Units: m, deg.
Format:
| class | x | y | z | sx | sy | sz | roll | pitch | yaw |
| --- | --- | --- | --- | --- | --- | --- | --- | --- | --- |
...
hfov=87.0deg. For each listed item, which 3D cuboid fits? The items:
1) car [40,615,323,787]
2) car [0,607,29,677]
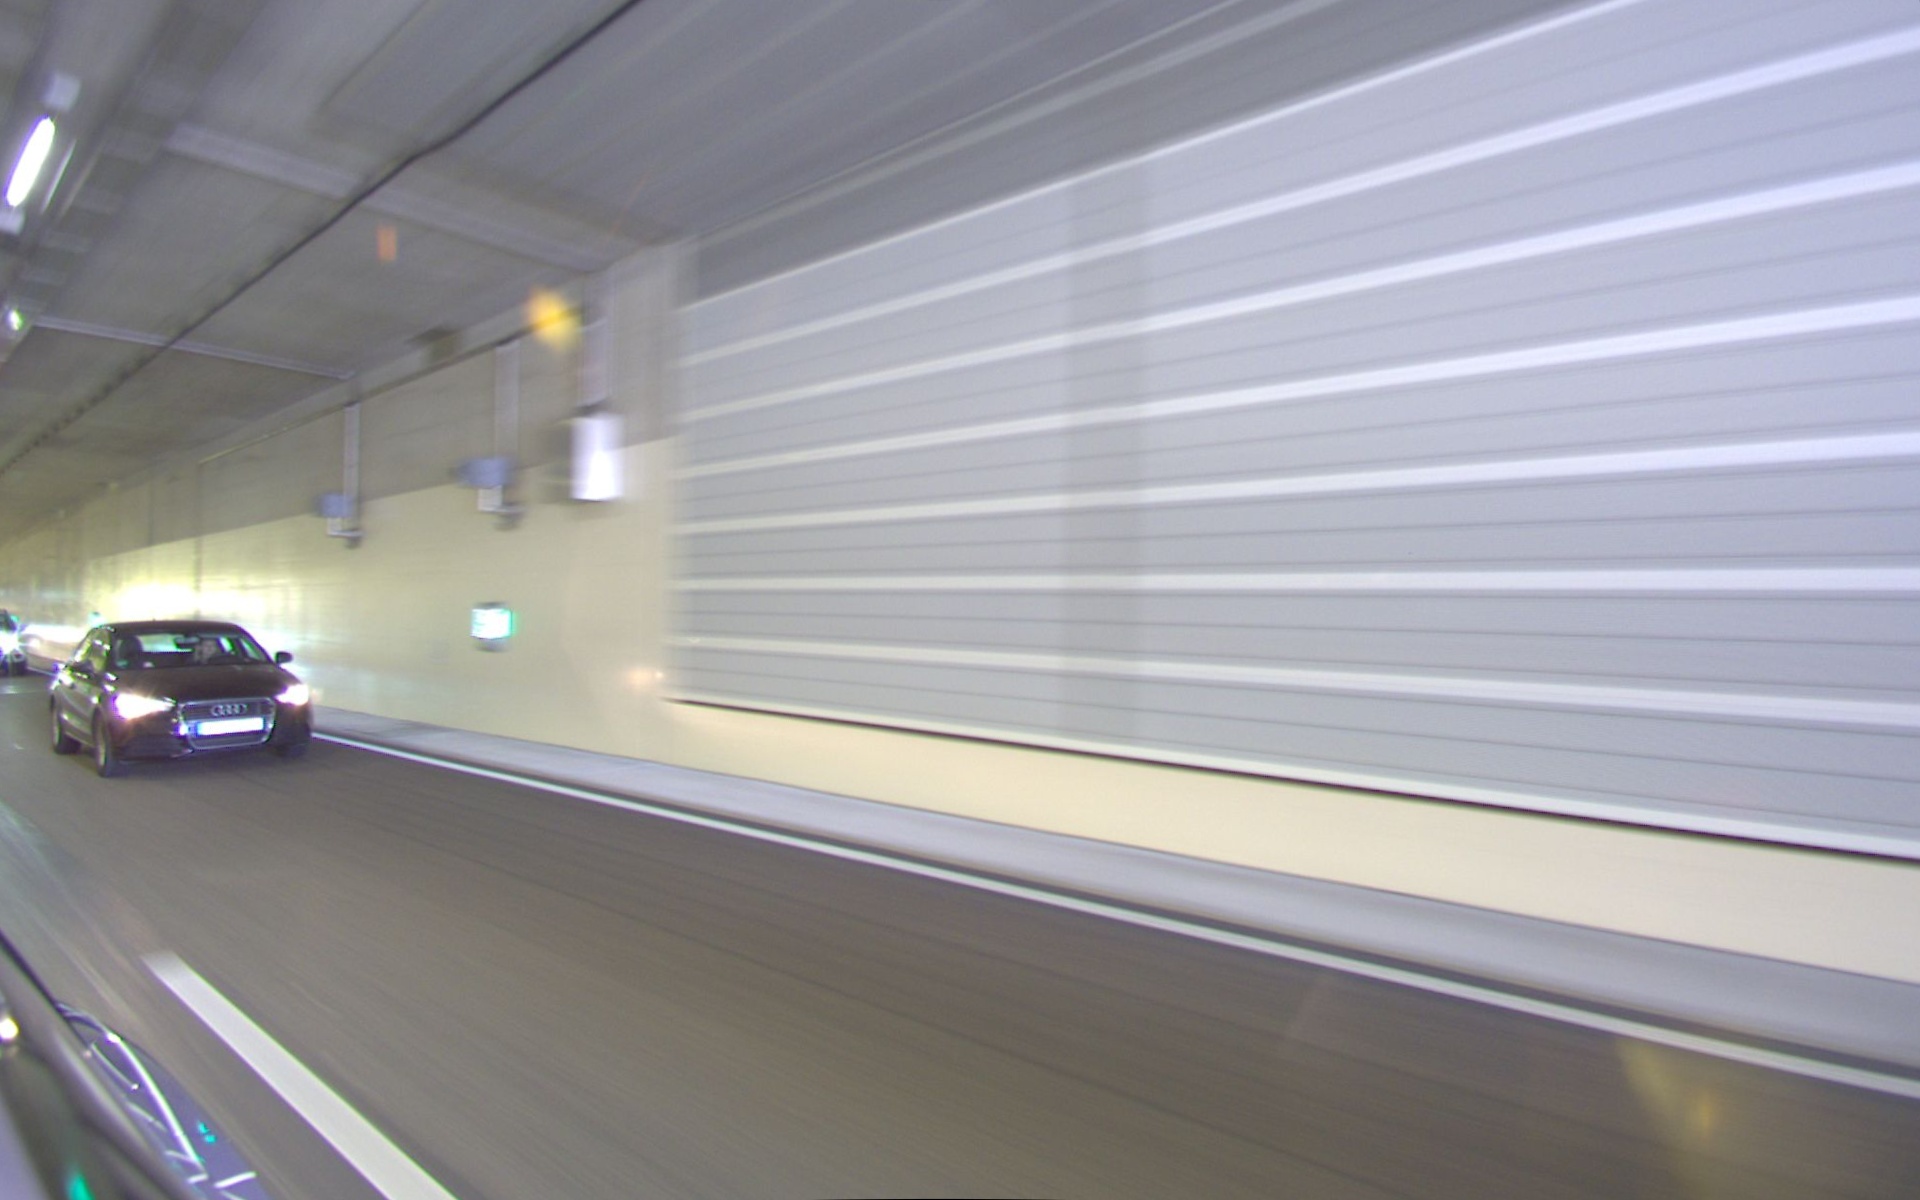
| class | x | y | z | sx | sy | sz | roll | pitch | yaw |
| --- | --- | --- | --- | --- | --- | --- | --- | --- | --- |
| car | -8.205 | 0.905 | 10.547 | 3.887 | 1.429 | 1.677 | -1 | -1 | 42 |
| car | -24.992 | 1.076 | 25.583 | 3.970 | 1.681 | 1.830 | -3 | -2 | 43 |
